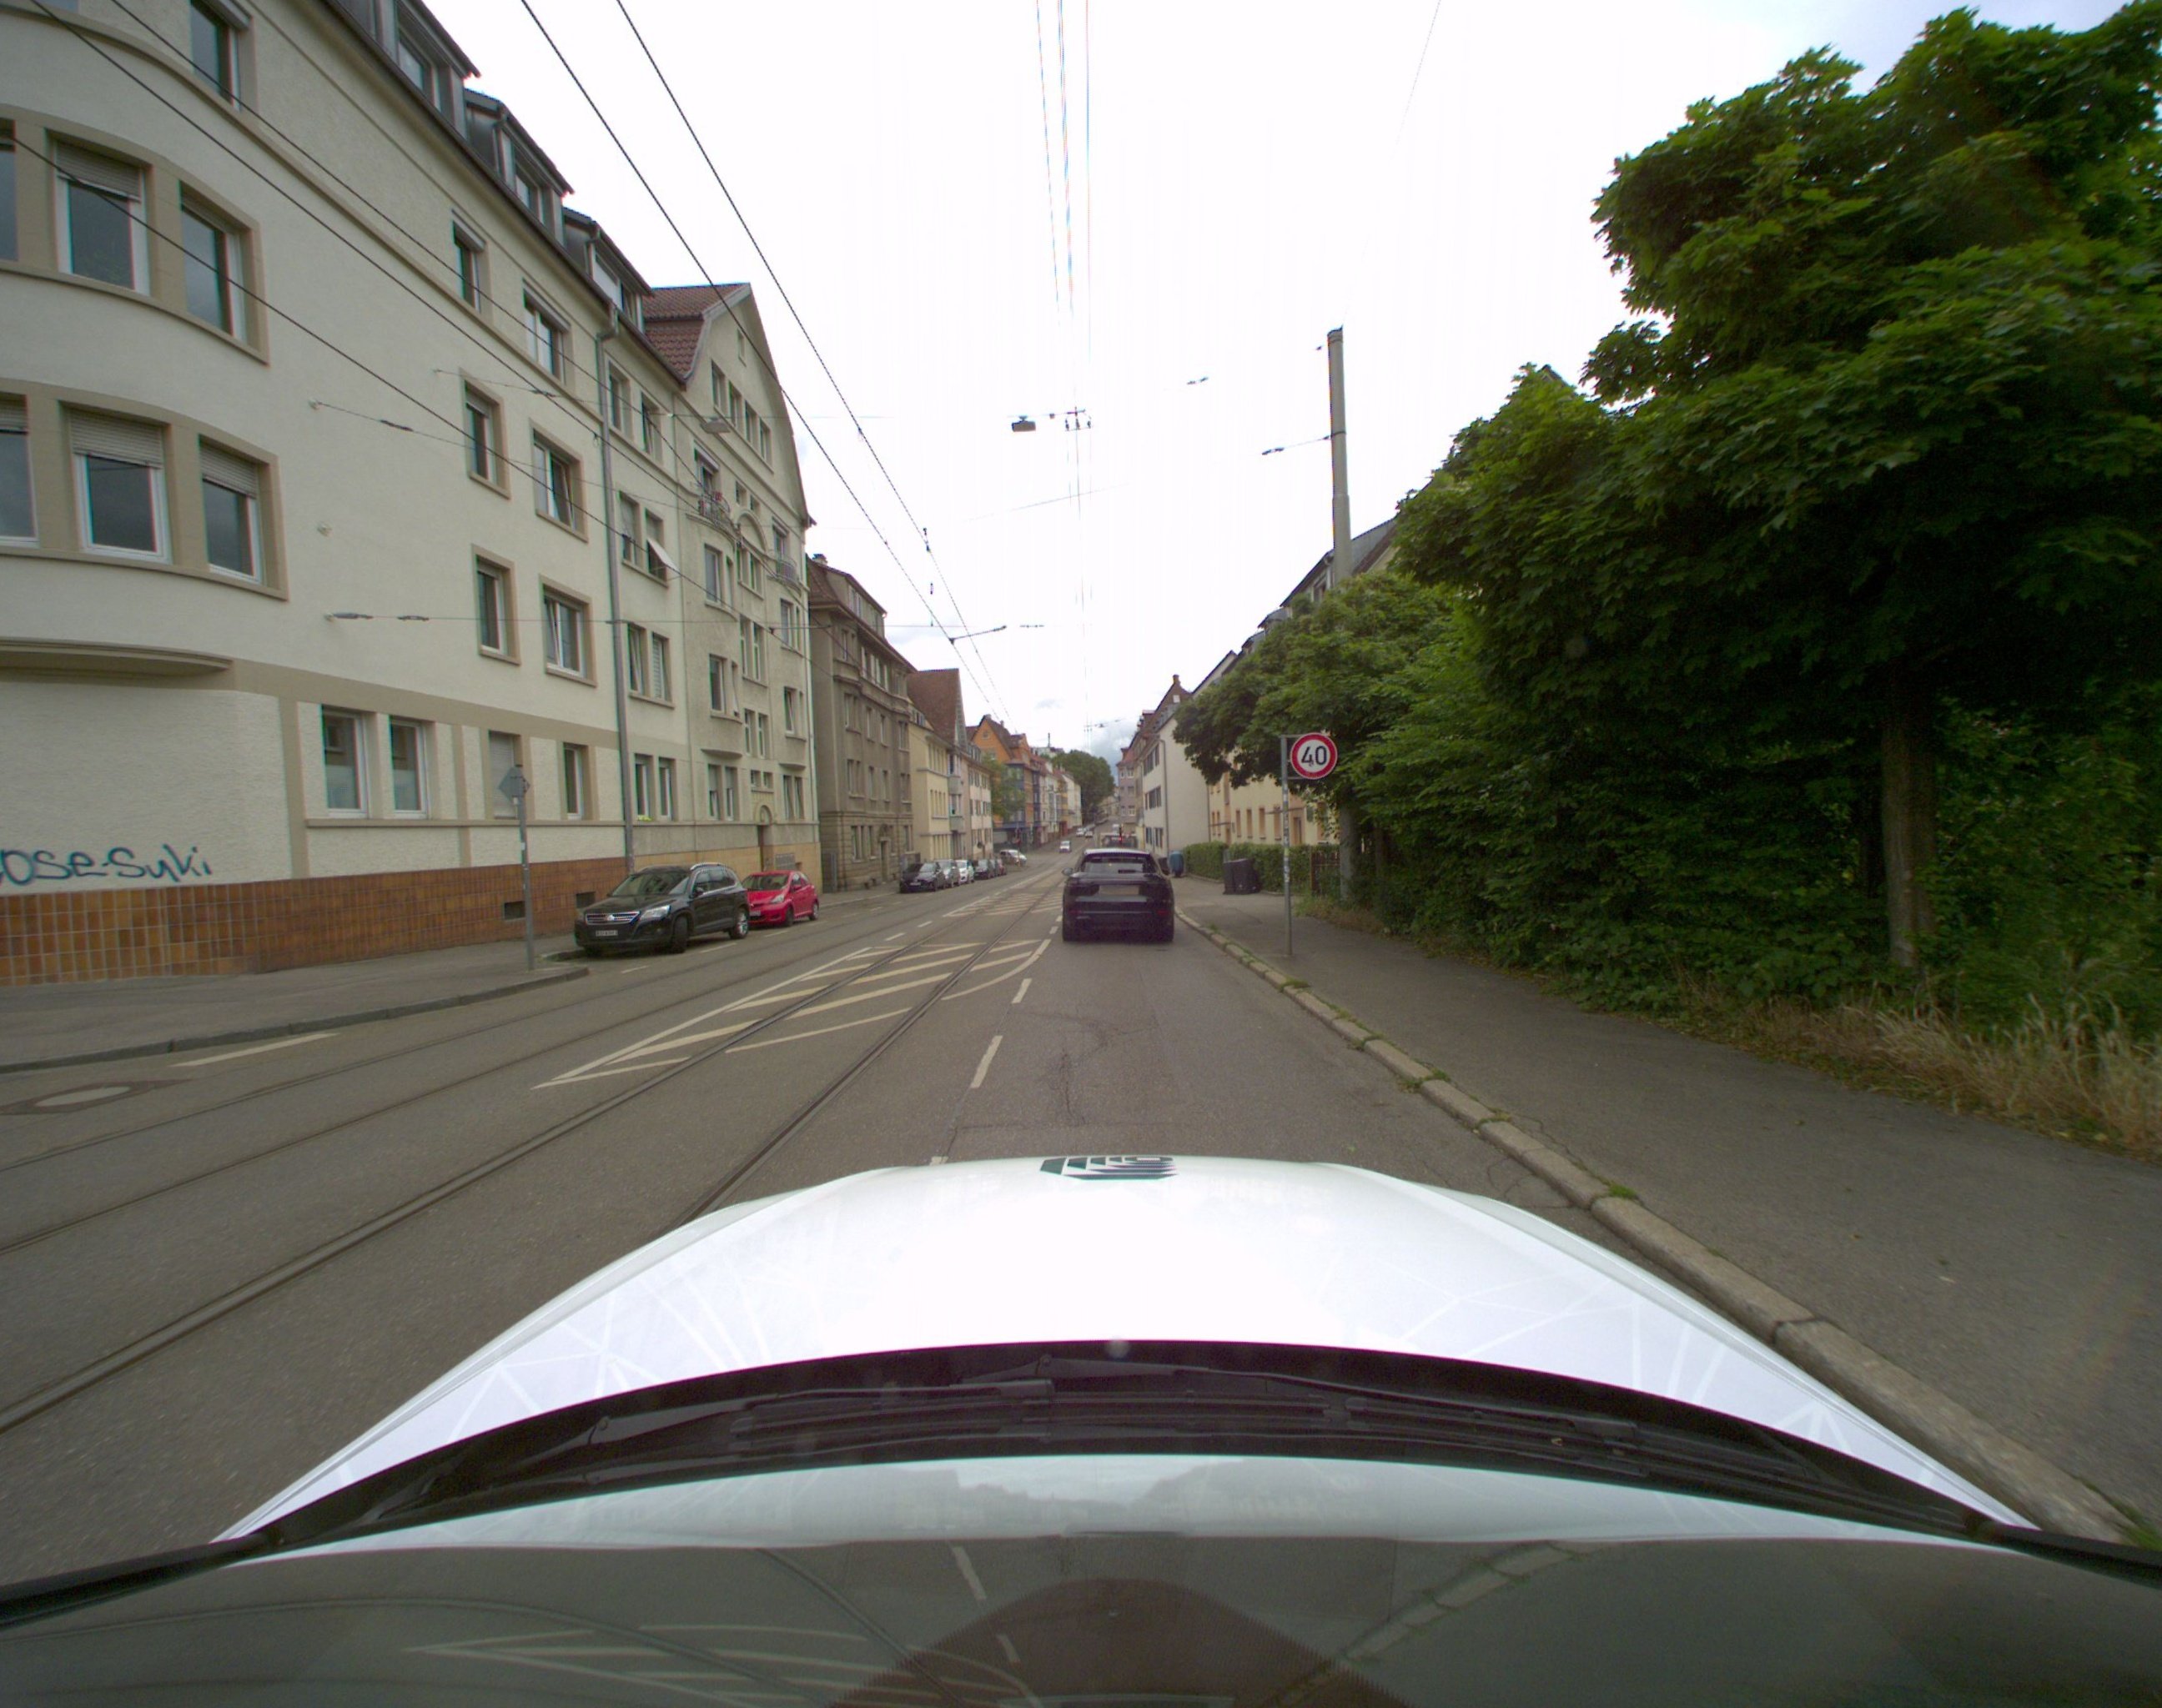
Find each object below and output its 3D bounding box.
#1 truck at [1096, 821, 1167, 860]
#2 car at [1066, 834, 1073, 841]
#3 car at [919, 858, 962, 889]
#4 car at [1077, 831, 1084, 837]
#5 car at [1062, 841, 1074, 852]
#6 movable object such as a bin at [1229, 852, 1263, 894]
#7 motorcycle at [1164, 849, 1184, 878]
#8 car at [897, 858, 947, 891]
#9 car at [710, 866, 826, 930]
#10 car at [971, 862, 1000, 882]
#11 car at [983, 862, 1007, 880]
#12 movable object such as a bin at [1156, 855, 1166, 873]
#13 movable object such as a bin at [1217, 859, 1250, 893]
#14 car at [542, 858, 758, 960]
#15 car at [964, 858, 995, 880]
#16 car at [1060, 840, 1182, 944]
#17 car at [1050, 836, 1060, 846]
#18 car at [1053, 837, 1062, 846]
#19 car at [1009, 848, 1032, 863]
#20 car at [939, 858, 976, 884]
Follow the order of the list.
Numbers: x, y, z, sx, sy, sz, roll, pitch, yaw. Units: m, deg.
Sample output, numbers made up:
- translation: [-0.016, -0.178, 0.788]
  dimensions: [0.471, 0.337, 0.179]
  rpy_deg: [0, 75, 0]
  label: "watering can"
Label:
- translation: [6.079, -1.586, 99.340]
  dimensions: [8.482, 4.182, 2.274]
  rpy_deg: [-3, -3, 31]
  label: "truck"
- translation: [-2.526, -3.554, 177.617]
  dimensions: [1.389, 1.450, 3.360]
  rpy_deg: [-2, 0, 2]
  label: "car"
- translation: [-7.744, 1.058, 45.267]
  dimensions: [1.616, 1.604, 4.349]
  rpy_deg: [-3, -1, 0]
  label: "car"
- translation: [-0.162, -4.750, 195.397]
  dimensions: [1.389, 1.450, 3.360]
  rpy_deg: [-2, 0, 2]
  label: "car"
- translation: [-2.152, -1.293, 135.582]
  dimensions: [1.744, 1.759, 4.255]
  rpy_deg: [-2, 0, 2]
  label: "car"
- translation: [4.916, 0.561, 24.355]
  dimensions: [0.790, 1.218, 0.788]
  rpy_deg: [-2, 0, -3]
  label: "movable object such as a bin"
- translation: [4.922, 0.482, 43.261]
  dimensions: [0.835, 1.456, 2.554]
  rpy_deg: [-2, 0, 2]
  label: "motorcycle"
- translation: [-7.826, 1.005, 40.437]
  dimensions: [1.616, 1.463, 4.031]
  rpy_deg: [-3, -1, 0]
  label: "car"
- translation: [-8.224, 1.095, 21.748]
  dimensions: [1.616, 1.463, 3.744]
  rpy_deg: [-3, -1, 0]
  label: "car"
- translation: [-7.591, 1.397, 64.917]
  dimensions: [1.730, 1.410, 4.001]
  rpy_deg: [-2, 0, 1]
  label: "car"
- translation: [-7.471, 1.488, 71.348]
  dimensions: [1.616, 1.490, 4.046]
  rpy_deg: [-3, -1, 0]
  label: "car"
- translation: [4.928, 0.633, 50.097]
  dimensions: [0.586, 1.080, 0.692]
  rpy_deg: [-2, 0, 3]
  label: "movable object such as a bin"
- translation: [4.705, 0.673, 25.152]
  dimensions: [0.790, 1.012, 0.788]
  rpy_deg: [-2, 0, -3]
  label: "movable object such as a bin"
- translation: [-8.214, 0.961, 16.070]
  dimensions: [1.862, 1.646, 4.401]
  rpy_deg: [-3, -1, 0]
  label: "car"
- translation: [-7.386, 1.090, 59.455]
  dimensions: [1.616, 1.473, 4.554]
  rpy_deg: [-3, -1, 0]
  label: "car"
- translation: [0.686, 0.644, 15.643]
  dimensions: [1.987, 1.676, 4.000]
  rpy_deg: [-2, 0, 0]
  label: "car"
- translation: [-4.633, -2.253, 144.688]
  dimensions: [1.389, 1.722, 3.360]
  rpy_deg: [-2, 0, 2]
  label: "car"
- translation: [-4.543, -2.406, 157.445]
  dimensions: [1.389, 1.450, 3.360]
  rpy_deg: [-2, 0, 2]
  label: "car"
- translation: [-7.896, 0.230, 106.163]
  dimensions: [1.926, 1.819, 4.191]
  rpy_deg: [-2, 0, -18]
  label: "car"
- translation: [-7.689, 1.061, 51.072]
  dimensions: [1.615, 1.463, 3.685]
  rpy_deg: [-3, -1, 1]
  label: "car"
